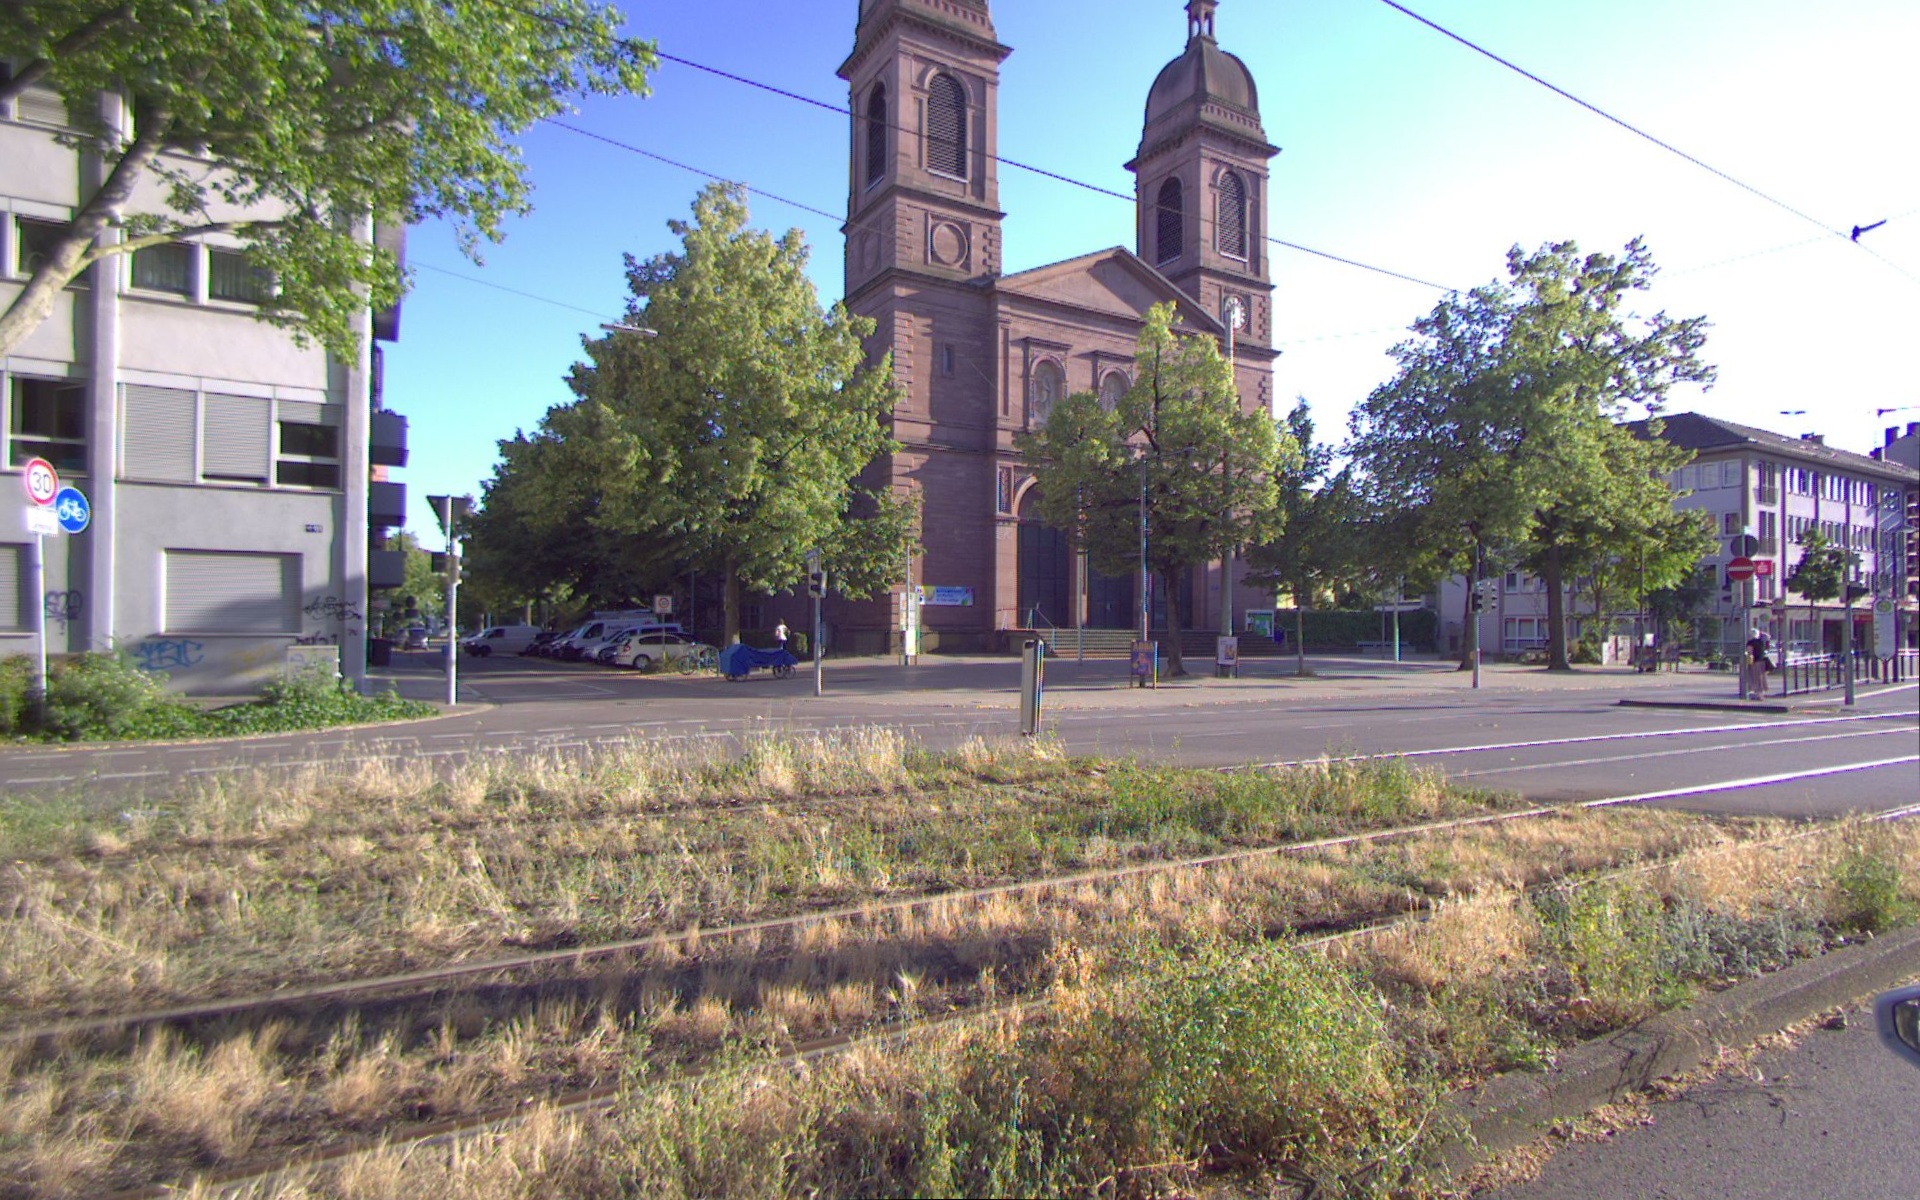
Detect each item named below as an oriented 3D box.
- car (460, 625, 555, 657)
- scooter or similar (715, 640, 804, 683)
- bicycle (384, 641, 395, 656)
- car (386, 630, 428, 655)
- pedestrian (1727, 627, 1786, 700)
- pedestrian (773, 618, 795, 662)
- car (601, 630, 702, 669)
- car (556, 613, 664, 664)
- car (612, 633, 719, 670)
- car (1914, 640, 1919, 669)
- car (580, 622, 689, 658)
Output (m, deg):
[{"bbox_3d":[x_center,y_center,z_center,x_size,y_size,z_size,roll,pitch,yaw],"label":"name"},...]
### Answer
[{"bbox_3d":[-29.804,2.687,66.310,5.389,2.040,1.974,2,-2,-44],"label":"car"},{"bbox_3d":[-6.121,1.858,30.702,2.419,1.141,1.088,-1,0,-30],"label":"scooter or similar"},{"bbox_3d":[-39.431,3.345,69.487,0.625,0.993,1.974,1,-2,-29],"label":"bicycle"},{"bbox_3d":[-47.054,3.561,85.429,1.985,2.040,5.360,2,-2,-41],"label":"car"},{"bbox_3d":[19.853,1.572,25.043,0.822,1.783,0.915,2,-2,-29],"label":"pedestrian"},{"bbox_3d":[-7.225,1.652,41.246,0.684,1.789,0.733,1,-1,-31],"label":"pedestrian"},{"bbox_3d":[-13.490,2.147,43.956,3.953,1.639,1.876,1,-2,-30],"label":"car"},{"bbox_3d":[-18.436,2.015,52.978,5.054,2.551,1.984,1,-2,-30],"label":"car"},{"bbox_3d":[-12.235,2.099,41.778,3.953,1.416,1.802,0,-1,-30],"label":"car"},{"bbox_3d":[57.328,3.134,57.627,3.440,1.702,1.772,0,-1,4],"label":"car"},{"bbox_3d":[-15.610,1.915,48.189,4.655,1.684,1.984,1,-2,-30],"label":"car"}]
